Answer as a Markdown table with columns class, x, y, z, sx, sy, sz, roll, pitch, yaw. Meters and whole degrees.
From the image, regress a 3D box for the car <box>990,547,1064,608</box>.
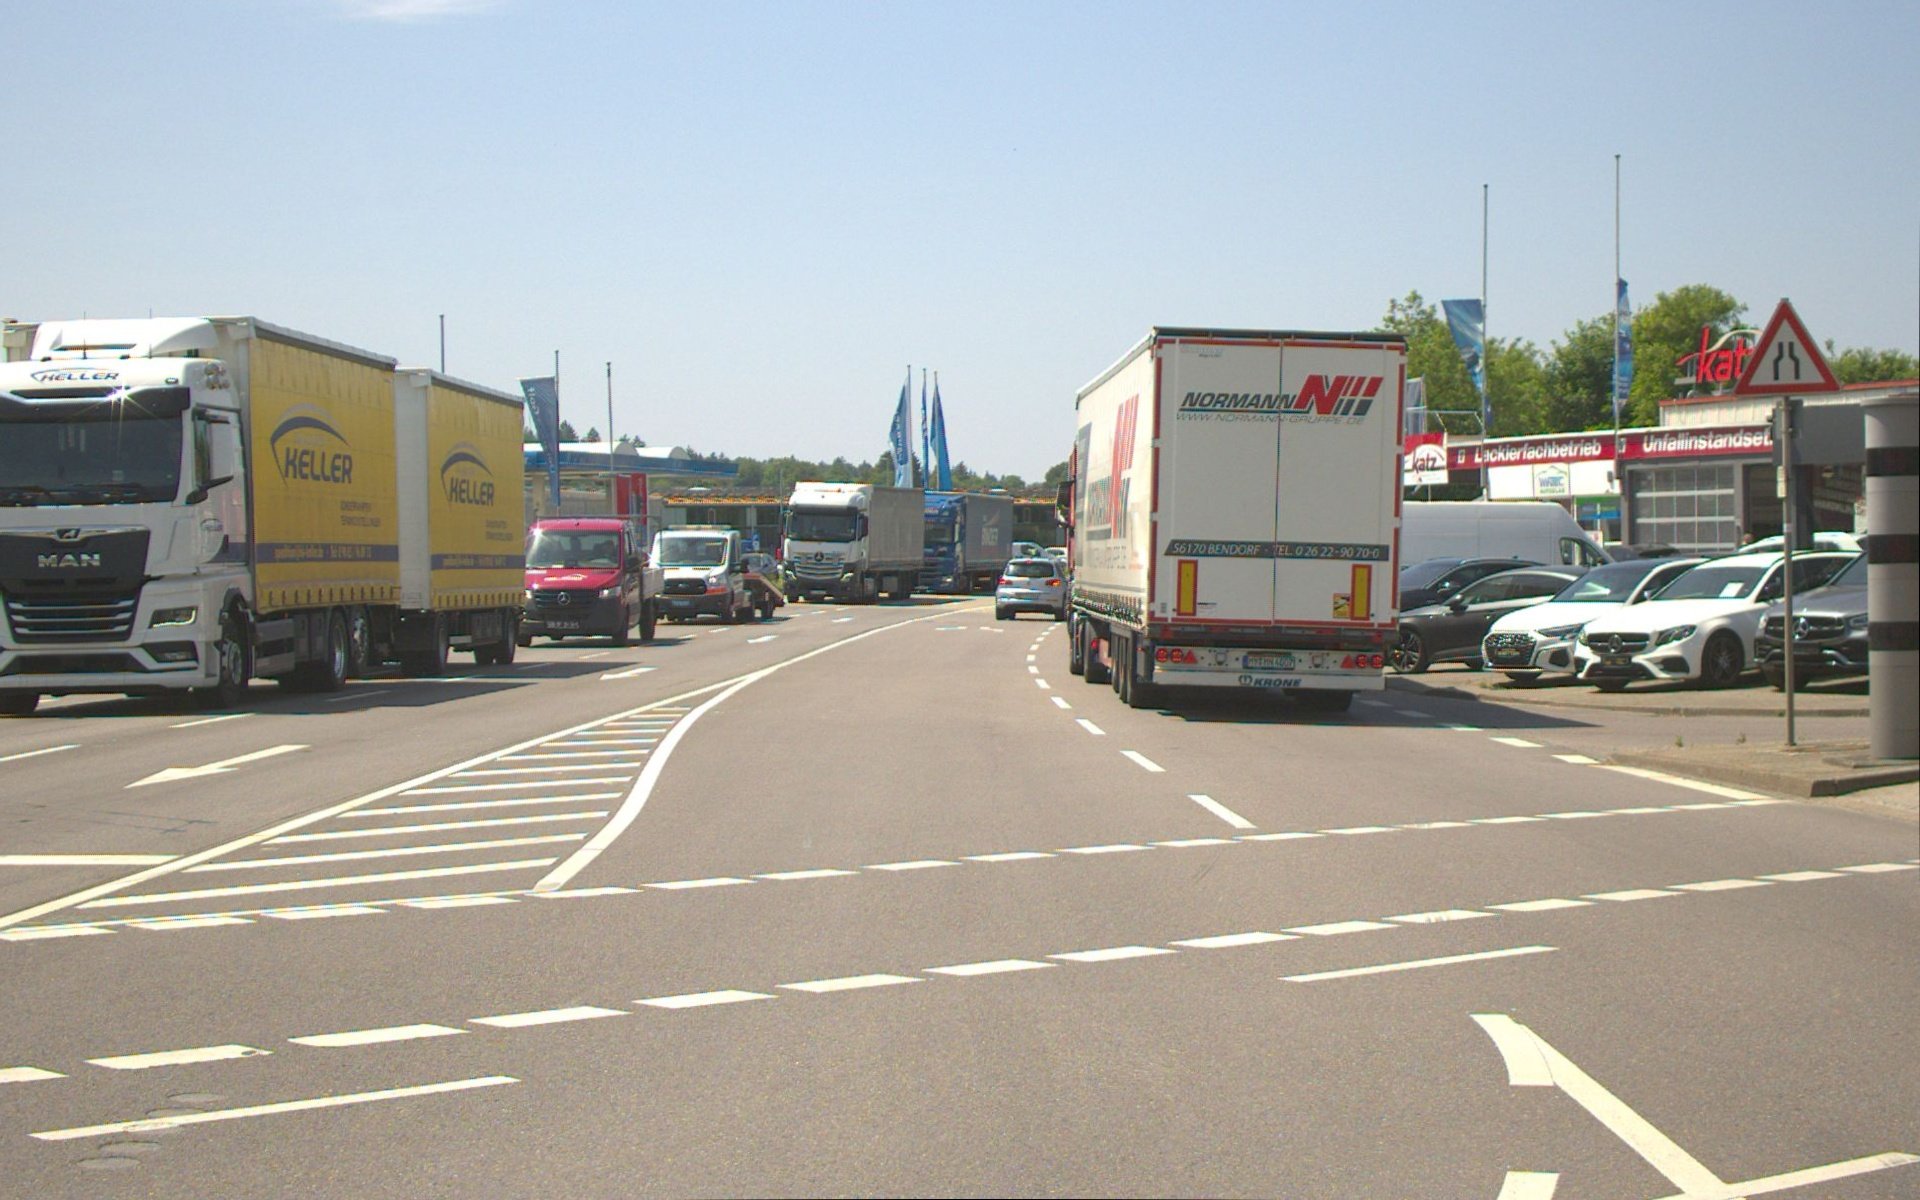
| class | x | y | z | sx | sy | sz | roll | pitch | yaw |
| --- | --- | --- | --- | --- | --- | --- | --- | --- | --- |
| car | 1.813 | -0.605 | 92.637 | 1.923 | 1.605 | 4.095 | 0 | 0 | 1 |

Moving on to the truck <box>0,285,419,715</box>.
| class | x | y | z | sx | sy | sz | roll | pitch | yaw |
| --- | --- | --- | --- | --- | --- | --- | --- | --- | --- |
| truck | -8.520 | -1.037 | 38.205 | 3.029 | 4.091 | 10.354 | -1 | 1 | 2 |

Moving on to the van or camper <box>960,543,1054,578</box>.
| class | x | y | z | sx | sy | sz | roll | pitch | yaw |
| --- | --- | --- | --- | --- | --- | --- | --- | --- | --- |
| van or camper | 2.554 | -2.154 | 187.610 | 4.849 | 1.898 | 1.903 | 1 | 0 | 11 |

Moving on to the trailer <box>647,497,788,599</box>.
| class | x | y | z | sx | sy | sz | roll | pitch | yaw |
| --- | --- | --- | --- | --- | --- | --- | --- | --- | --- |
| trailer | -5.940 | -1.291 | 85.255 | 2.428 | 2.330 | 6.896 | -2 | 1 | 4 |

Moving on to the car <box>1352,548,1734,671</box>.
| class | x | y | z | sx | sy | sz | roll | pitch | yaw |
| --- | --- | --- | --- | --- | --- | --- | --- | --- | --- |
| car | 7.915 | 0.150 | 47.045 | 1.923 | 1.382 | 4.932 | -3 | -1 | -43 |

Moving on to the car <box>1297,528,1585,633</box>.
| class | x | y | z | sx | sy | sz | roll | pitch | yaw |
| --- | --- | --- | --- | --- | --- | --- | --- | --- | --- |
| car | 8.071 | -0.339 | 57.675 | 4.325 | 1.619 | 2.062 | -2 | 1 | -25 |

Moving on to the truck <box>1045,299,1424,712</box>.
| class | x | y | z | sx | sy | sz | roll | pitch | yaw |
| --- | --- | --- | --- | --- | --- | --- | --- | --- | --- |
| truck | 2.944 | -1.070 | 43.000 | 2.973 | 4.079 | 17.636 | 0 | 1 | -1 |

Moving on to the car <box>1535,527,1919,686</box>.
| class | x | y | z | sx | sy | sz | roll | pitch | yaw |
| --- | --- | --- | --- | --- | --- | --- | --- | --- | --- |
| car | 9.264 | 0.049 | 41.077 | 4.726 | 1.547 | 1.999 | -5 | 2 | -38 |

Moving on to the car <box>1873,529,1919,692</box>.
| class | x | y | z | sx | sy | sz | roll | pitch | yaw |
| --- | --- | --- | --- | --- | --- | --- | --- | --- | --- |
| car | 11.932 | -0.008 | 36.835 | 4.172 | 1.686 | 1.884 | -4 | 2 | -36 |

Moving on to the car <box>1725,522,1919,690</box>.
| class | x | y | z | sx | sy | sz | roll | pitch | yaw |
| --- | --- | --- | --- | --- | --- | --- | --- | --- | --- |
| car | 10.856 | 0.003 | 39.032 | 4.162 | 1.686 | 1.884 | -4 | 2 | -36 |

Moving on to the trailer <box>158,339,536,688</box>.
| class | x | y | z | sx | sy | sz | roll | pitch | yaw |
| --- | --- | --- | --- | --- | --- | --- | --- | --- | --- |
| trailer | -8.209 | -1.152 | 47.569 | 3.011 | 4.272 | 10.058 | -1 | 1 | 2 |

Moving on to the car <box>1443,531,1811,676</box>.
| class | x | y | z | sx | sy | sz | roll | pitch | yaw |
| --- | --- | --- | --- | --- | --- | --- | --- | --- | --- |
| car | 8.474 | 0.025 | 43.537 | 4.462 | 1.404 | 1.746 | -6 | 3 | -30 |

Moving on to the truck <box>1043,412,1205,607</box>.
| class | x | y | z | sx | sy | sz | roll | pitch | yaw |
| --- | --- | --- | --- | --- | --- | --- | --- | --- | --- |
| truck | 3.371 | -1.876 | 73.929 | 2.647 | 3.793 | 13.360 | 0 | 1 | -1 |

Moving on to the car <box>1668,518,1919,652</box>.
| class | x | y | z | sx | sy | sz | roll | pitch | yaw |
| --- | --- | --- | --- | --- | --- | --- | --- | --- | --- |
| car | 12.526 | -0.222 | 49.605 | 1.849 | 1.708 | 4.146 | -3 | -1 | -43 |

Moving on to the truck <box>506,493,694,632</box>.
| class | x | y | z | sx | sy | sz | roll | pitch | yaw |
| --- | --- | --- | --- | --- | --- | --- | --- | --- | --- |
| truck | -6.600 | -0.698 | 63.967 | 2.396 | 2.436 | 6.871 | 0 | 1 | 3 |

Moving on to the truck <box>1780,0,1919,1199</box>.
| class | x | y | z | sx | sy | sz | roll | pitch | yaw |
| --- | --- | --- | --- | --- | --- | --- | --- | --- | --- |
| truck | 3.228 | -0.558 | 3.896 | 2.973 | 3.996 | 6.327 | -2 | 1 | -1 |

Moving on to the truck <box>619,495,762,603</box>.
| class | x | y | z | sx | sy | sz | roll | pitch | yaw |
| --- | --- | --- | --- | --- | --- | --- | --- | --- | --- |
| truck | -6.282 | -1.215 | 80.858 | 2.425 | 2.332 | 5.674 | -2 | 1 | 4 |

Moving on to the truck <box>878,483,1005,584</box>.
| class | x | y | z | sx | sy | sz | roll | pitch | yaw |
| --- | --- | --- | --- | --- | --- | --- | --- | --- | --- |
| truck | -0.599 | -2.654 | 141.384 | 2.845 | 3.876 | 17.000 | 0 | 1 | 8 |

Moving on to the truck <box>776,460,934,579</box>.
| class | x | y | z | sx | sy | sz | roll | pitch | yaw |
| --- | --- | --- | --- | --- | --- | --- | --- | --- | --- |
| truck | -3.475 | -2.687 | 119.752 | 2.791 | 3.876 | 16.478 | 0 | 1 | 8 |

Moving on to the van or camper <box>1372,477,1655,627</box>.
| class | x | y | z | sx | sy | sz | roll | pitch | yaw |
| --- | --- | --- | --- | --- | --- | --- | --- | --- | --- |
| van or camper | 11.003 | -0.962 | 68.702 | 5.369 | 2.895 | 2.232 | 0 | 1 | 4 |
